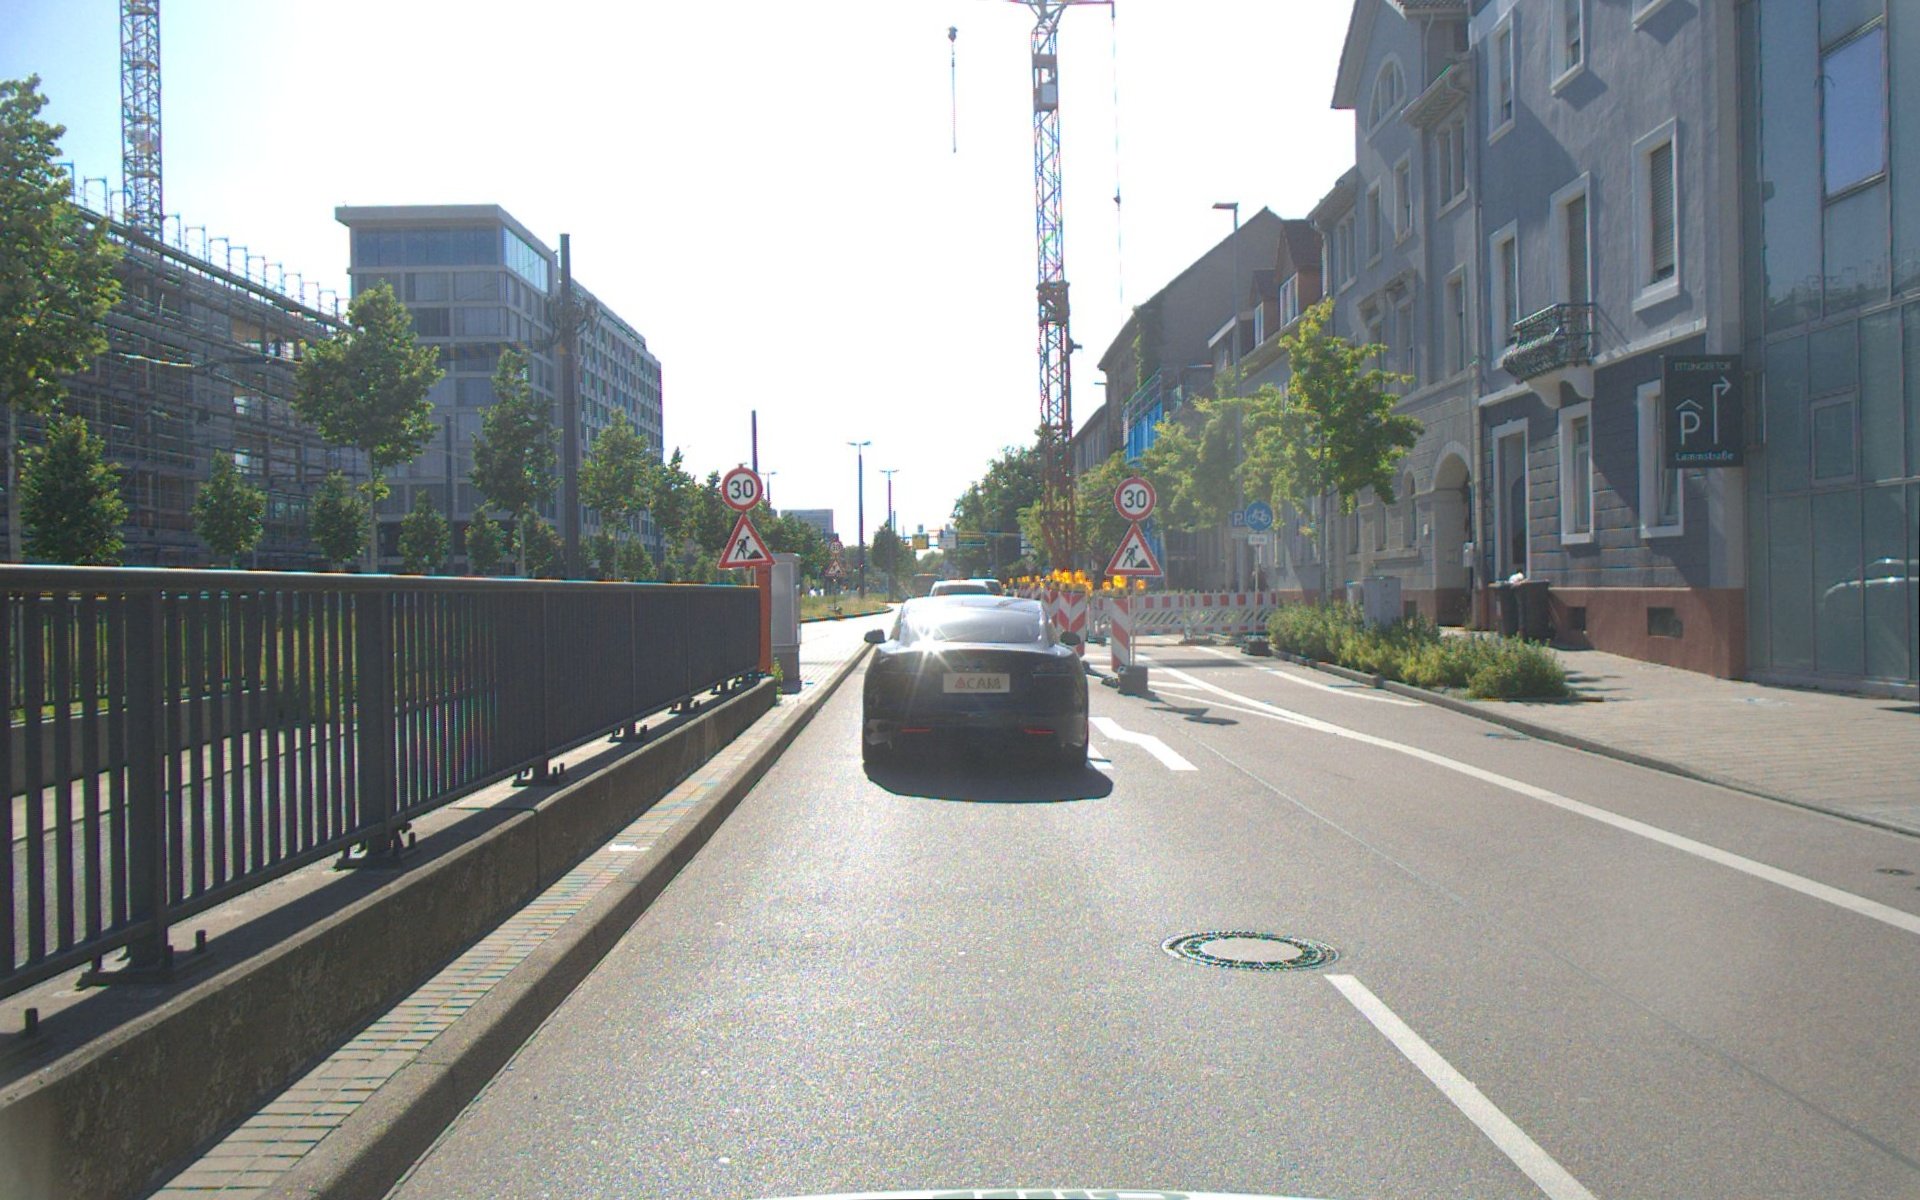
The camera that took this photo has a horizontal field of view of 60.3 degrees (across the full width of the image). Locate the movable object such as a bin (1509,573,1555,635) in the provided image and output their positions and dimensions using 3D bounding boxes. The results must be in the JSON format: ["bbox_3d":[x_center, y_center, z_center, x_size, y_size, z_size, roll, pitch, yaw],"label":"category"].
[{"bbox_3d":[10.335,0.073,29.907,0.590,1.101,0.704,-1,1,0],"label":"movable object such as a bin"}]

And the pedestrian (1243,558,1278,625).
[{"bbox_3d":[8.864,-0.256,48.767,0.780,1.962,0.767,0,0,-14],"label":"pedestrian"}]

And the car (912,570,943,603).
[{"bbox_3d":[-2.341,-0.954,117.754,2.173,2.307,4.483,0,1,-2],"label":"car"}]

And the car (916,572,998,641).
[{"bbox_3d":[-0.099,0.118,37.347,1.712,1.452,4.837,0,0,-1],"label":"car"}]

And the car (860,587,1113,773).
[{"bbox_3d":[0.180,0.620,15.436,2.009,1.469,4.523,0,0,-1],"label":"car"}]

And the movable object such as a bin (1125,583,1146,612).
[{"bbox_3d":[6.829,-0.099,64.463,0.576,1.076,0.783,-6,1,-5],"label":"movable object such as a bin"}]

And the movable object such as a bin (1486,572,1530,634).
[{"bbox_3d":[10.172,0.046,30.722,0.576,1.127,0.704,-1,1,0],"label":"movable object such as a bin"}]

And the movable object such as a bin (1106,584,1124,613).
[{"bbox_3d":[6.042,-0.050,64.537,0.583,1.076,0.730,-5,0,0],"label":"movable object such as a bin"}]

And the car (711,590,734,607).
[{"bbox_3d":[-24.321,-0.140,169.354,1.754,1.680,4.000,-1,0,0],"label":"car"}]

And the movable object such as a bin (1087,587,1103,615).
[{"bbox_3d":[5.250,0.024,64.284,0.575,1.076,0.730,0,0,0],"label":"movable object such as a bin"}]

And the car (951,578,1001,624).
[{"bbox_3d":[0.546,0.019,58.318,1.714,1.554,4.005,0,0,0],"label":"car"}]
